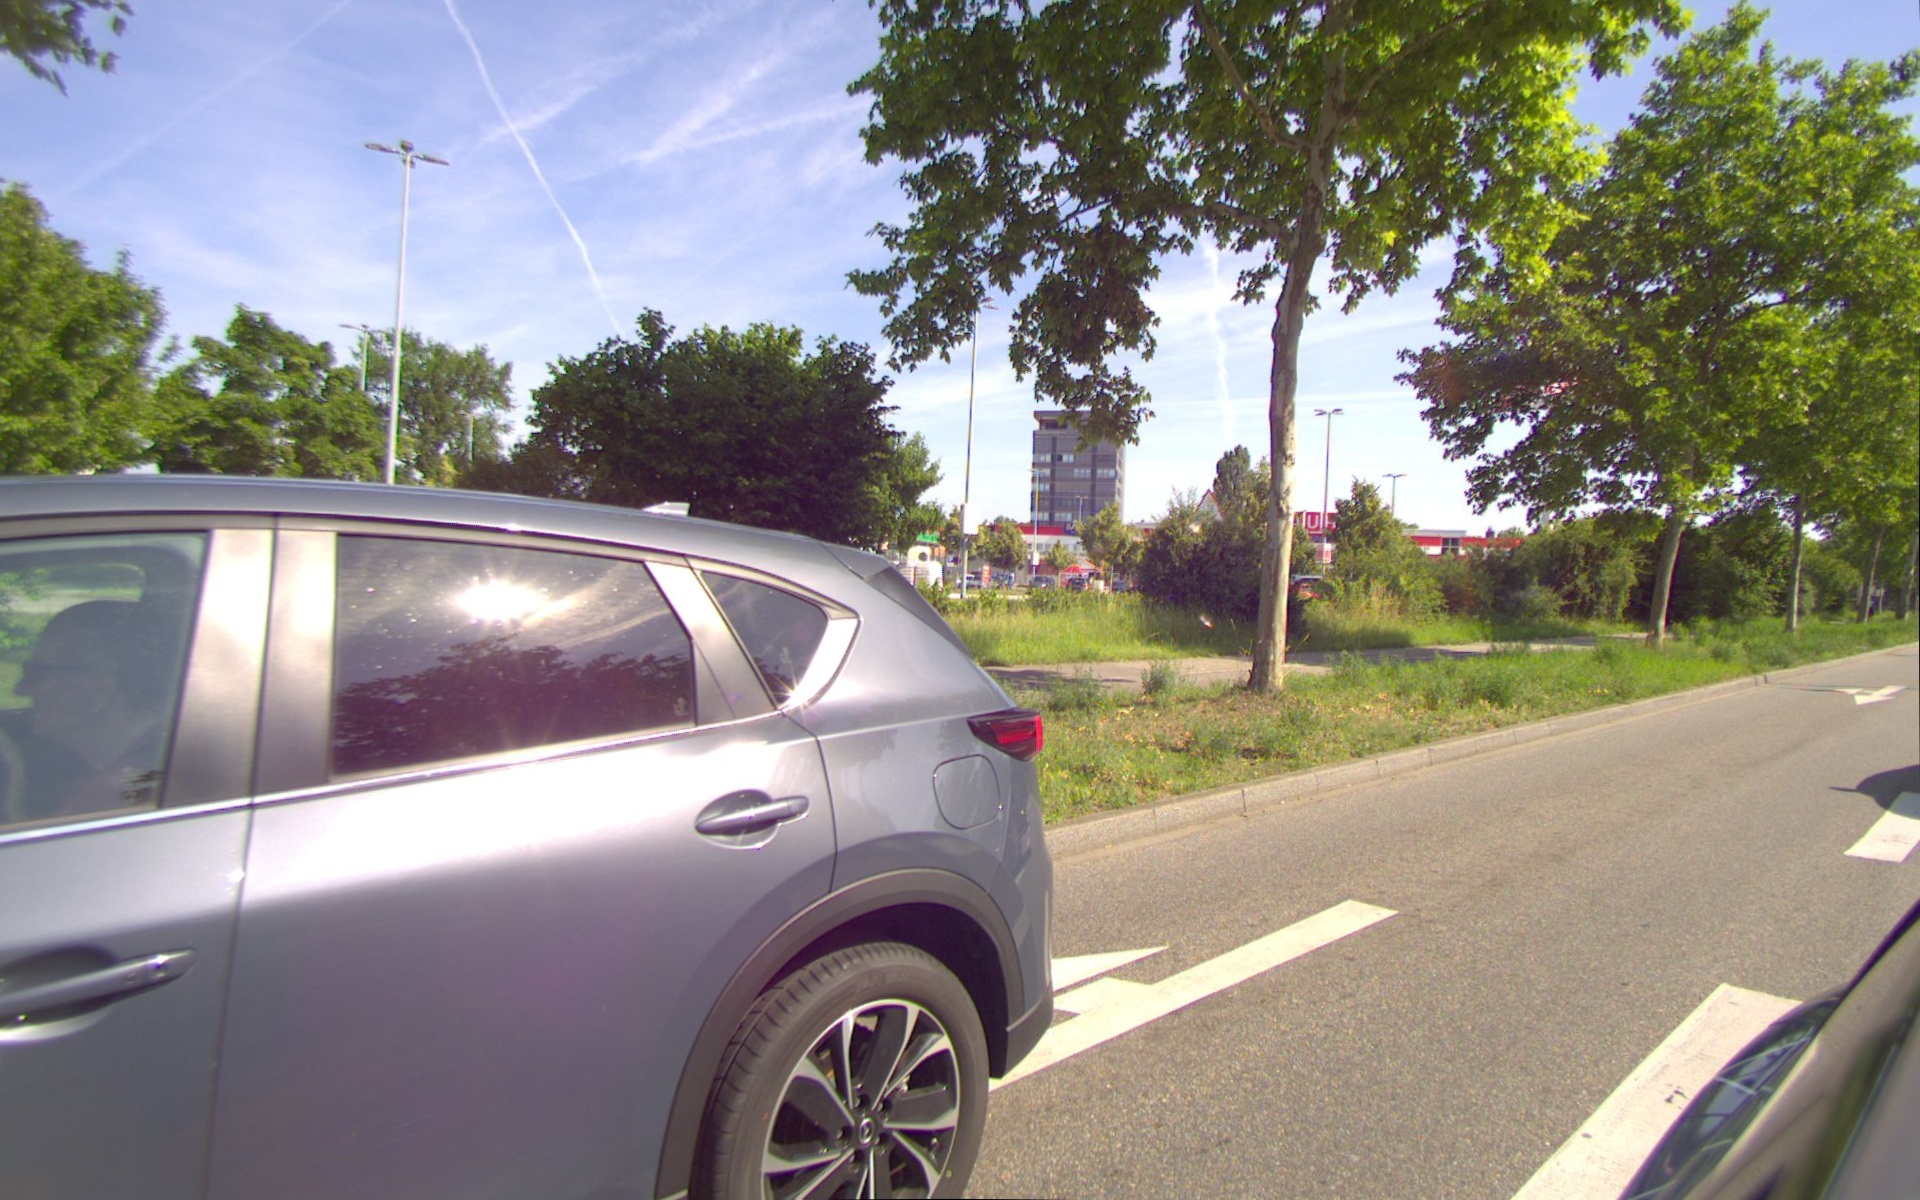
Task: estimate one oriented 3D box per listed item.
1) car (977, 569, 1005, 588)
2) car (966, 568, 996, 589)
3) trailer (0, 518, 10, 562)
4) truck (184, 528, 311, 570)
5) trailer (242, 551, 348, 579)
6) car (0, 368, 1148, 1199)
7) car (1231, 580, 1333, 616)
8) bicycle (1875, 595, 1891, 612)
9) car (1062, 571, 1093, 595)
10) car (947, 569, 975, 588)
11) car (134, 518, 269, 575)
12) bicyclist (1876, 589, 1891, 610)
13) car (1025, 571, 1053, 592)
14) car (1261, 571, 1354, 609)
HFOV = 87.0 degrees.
[{"bbox_3d":[2.767,-1.900,89.230,1.665,1.593,3.985,2,2,13],"label":"car"},{"bbox_3d":[1.784,-1.774,83.581,1.665,1.593,3.985,2,2,13],"label":"car"},{"bbox_3d":[-53.141,-3.272,53.186,1.728,2.406,4.388,3,1,17],"label":"trailer"},{"bbox_3d":[-39.566,-2.787,56.407,2.037,2.166,5.837,2,2,16],"label":"truck"},{"bbox_3d":[-31.318,-1.669,47.695,3.974,1.135,2.061,2,4,15],"label":"trailer"},{"bbox_3d":[-1.746,0.565,1.769,4.419,1.680,1.768,0,0,-42],"label":"car"},{"bbox_3d":[13.067,-0.115,41.196,3.553,1.316,1.740,3,2,43],"label":"car"},{"bbox_3d":[72.217,0.289,79.170,1.900,1.252,0.686,0,2,-41],"label":"bicycle"},{"bbox_3d":[8.193,-1.198,70.311,1.665,1.593,3.985,2,2,13],"label":"car"},{"bbox_3d":[0.111,-1.959,89.988,1.665,1.593,3.985,2,2,13],"label":"car"},{"bbox_3d":[-36.675,-2.595,48.973,5.601,2.572,2.013,2,3,12],"label":"car"},{"bbox_3d":[72.261,-0.050,79.193,0.984,1.651,0.686,0,2,-41],"label":"bicyclist"},{"bbox_3d":[6.480,-1.547,82.524,1.665,1.593,3.985,2,2,13],"label":"car"},{"bbox_3d":[16.087,-0.476,46.979,3.801,1.604,1.844,2,2,11],"label":"car"}]
